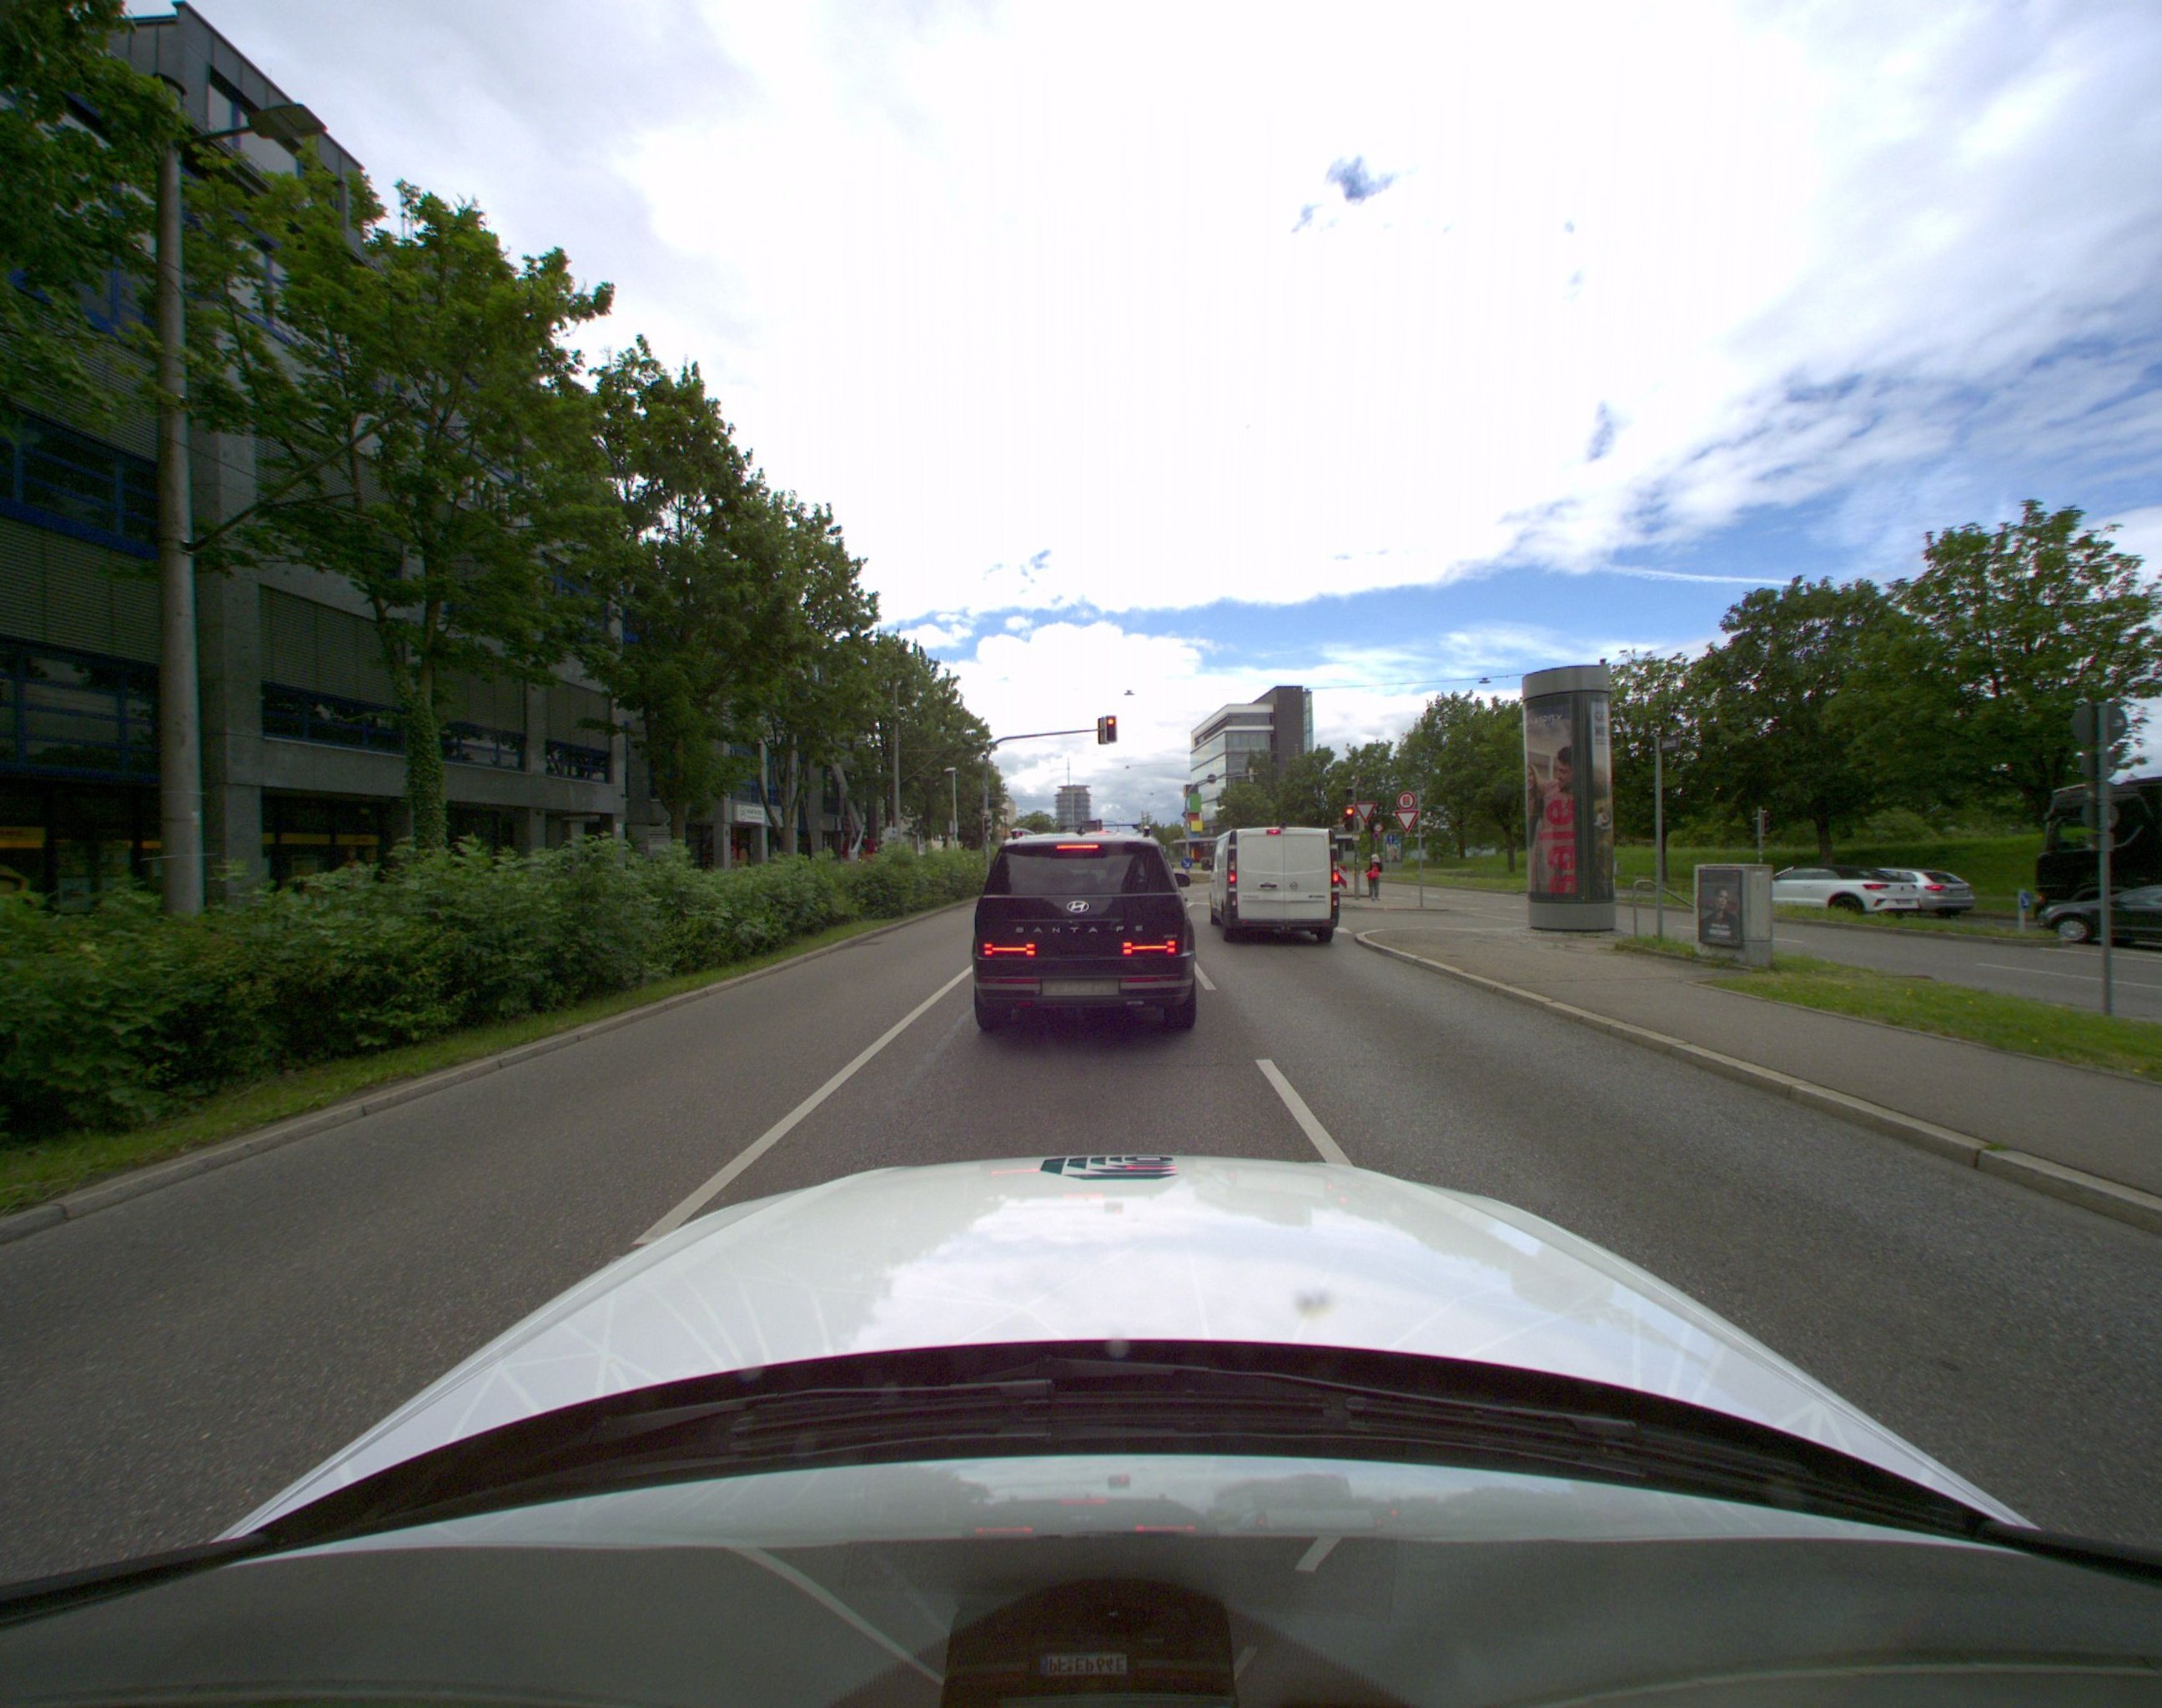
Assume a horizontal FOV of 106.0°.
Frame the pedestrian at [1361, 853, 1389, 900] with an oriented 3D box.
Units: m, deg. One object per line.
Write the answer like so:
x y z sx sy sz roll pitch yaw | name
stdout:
10.046 0.760 27.799 0.744 1.584 0.567 1 0 -38 | pedestrian

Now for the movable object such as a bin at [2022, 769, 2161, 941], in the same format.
26.300 -0.014 16.904 2.860 3.903 8.536 -1 -1 -11 | movable object such as a bin

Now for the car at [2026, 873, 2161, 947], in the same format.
23.046 1.196 16.926 1.994 1.453 3.985 1 0 -11 | car

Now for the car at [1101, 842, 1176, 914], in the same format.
1.513 0.592 21.621 1.768 1.717 4.342 -1 -1 4 | car

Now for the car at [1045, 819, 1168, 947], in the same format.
0.470 0.461 14.982 1.908 2.003 3.881 -1 0 2 | car

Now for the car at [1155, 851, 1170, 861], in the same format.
13.255 0.349 133.118 1.987 1.684 3.998 -1 -1 -1 | car

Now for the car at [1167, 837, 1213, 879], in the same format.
5.581 0.219 42.148 1.985 2.014 4.003 -1 -1 3 | car

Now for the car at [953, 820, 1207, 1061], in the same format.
0.056 0.649 8.050 1.862 1.760 3.881 -1 0 2 | car

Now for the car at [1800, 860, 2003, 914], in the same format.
25.143 0.963 25.174 1.994 1.453 3.985 1 0 -11 | car

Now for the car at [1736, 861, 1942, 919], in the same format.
21.810 0.986 23.677 1.994 1.453 3.985 1 0 -11 | car

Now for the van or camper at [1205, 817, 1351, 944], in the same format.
3.515 0.426 15.412 1.984 2.013 4.659 -1 0 5 | van or camper
